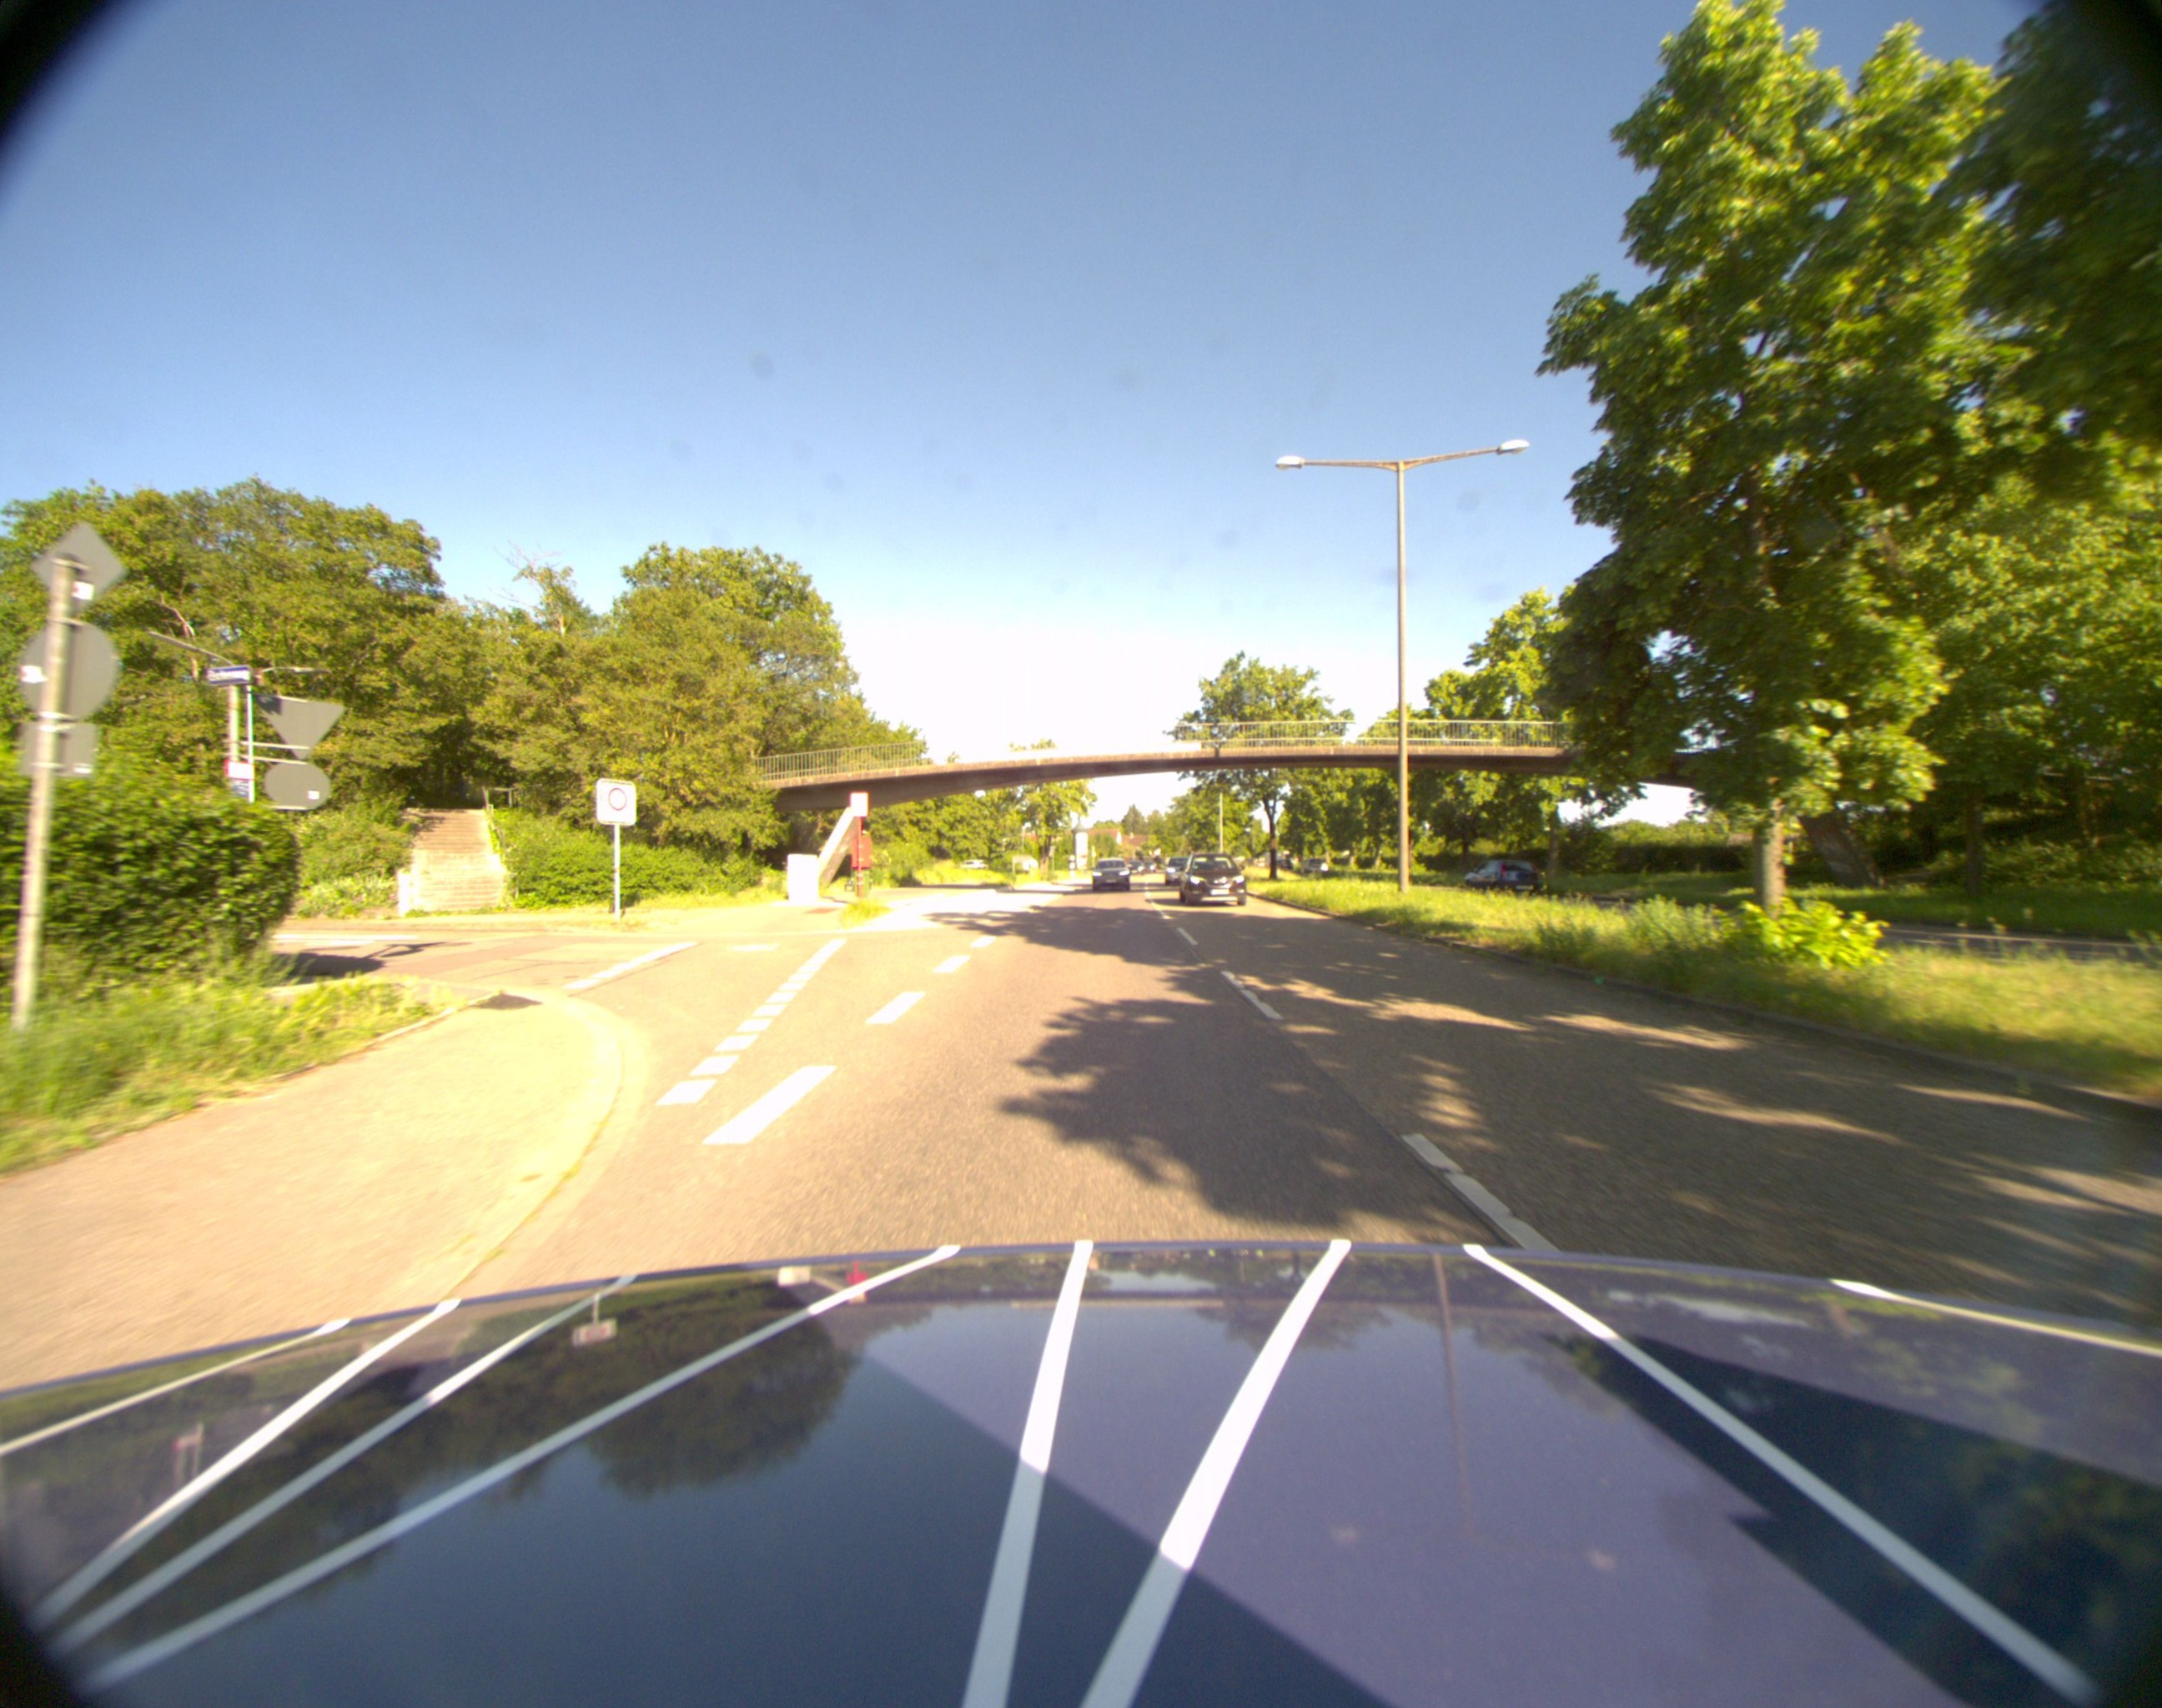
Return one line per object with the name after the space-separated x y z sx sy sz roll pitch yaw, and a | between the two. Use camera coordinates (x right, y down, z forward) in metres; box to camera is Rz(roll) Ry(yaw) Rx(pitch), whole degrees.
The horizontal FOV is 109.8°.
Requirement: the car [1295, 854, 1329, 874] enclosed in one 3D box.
20.188 0.853 66.552 1.735 1.637 4.902 1 0 4 | car

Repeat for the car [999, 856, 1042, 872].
-7.015 1.204 88.428 4.638 1.790 1.935 -1 -2 12 | car

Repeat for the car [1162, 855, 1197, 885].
5.644 0.871 43.096 1.822 1.553 4.650 -1 -1 9 | car

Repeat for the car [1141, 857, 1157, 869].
8.933 1.160 99.804 1.822 1.587 4.275 -2 0 7 | car

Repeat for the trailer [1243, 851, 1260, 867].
22.023 0.655 98.255 1.566 1.899 4.284 -1 0 5 | trailer

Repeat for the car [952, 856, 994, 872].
-12.709 1.213 89.446 4.524 1.857 2.074 -1 -2 12 | car

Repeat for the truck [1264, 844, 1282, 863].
26.695 -0.026 105.912 2.175 2.498 5.748 1 0 12 | truck

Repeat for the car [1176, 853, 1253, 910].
4.154 0.799 24.264 1.811 1.605 4.515 -1 0 2 | car

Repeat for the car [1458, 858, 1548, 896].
17.447 0.914 31.672 1.543 1.422 4.256 1 0 3 | car

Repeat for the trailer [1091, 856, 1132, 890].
1.507 0.957 38.338 1.897 1.585 4.001 -2 -1 0 | trailer

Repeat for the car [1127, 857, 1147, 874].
5.681 1.156 76.938 1.822 1.553 4.274 -1 0 7 | car

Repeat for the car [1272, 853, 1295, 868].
22.896 0.737 85.995 1.753 1.610 4.580 -1 0 5 | car
